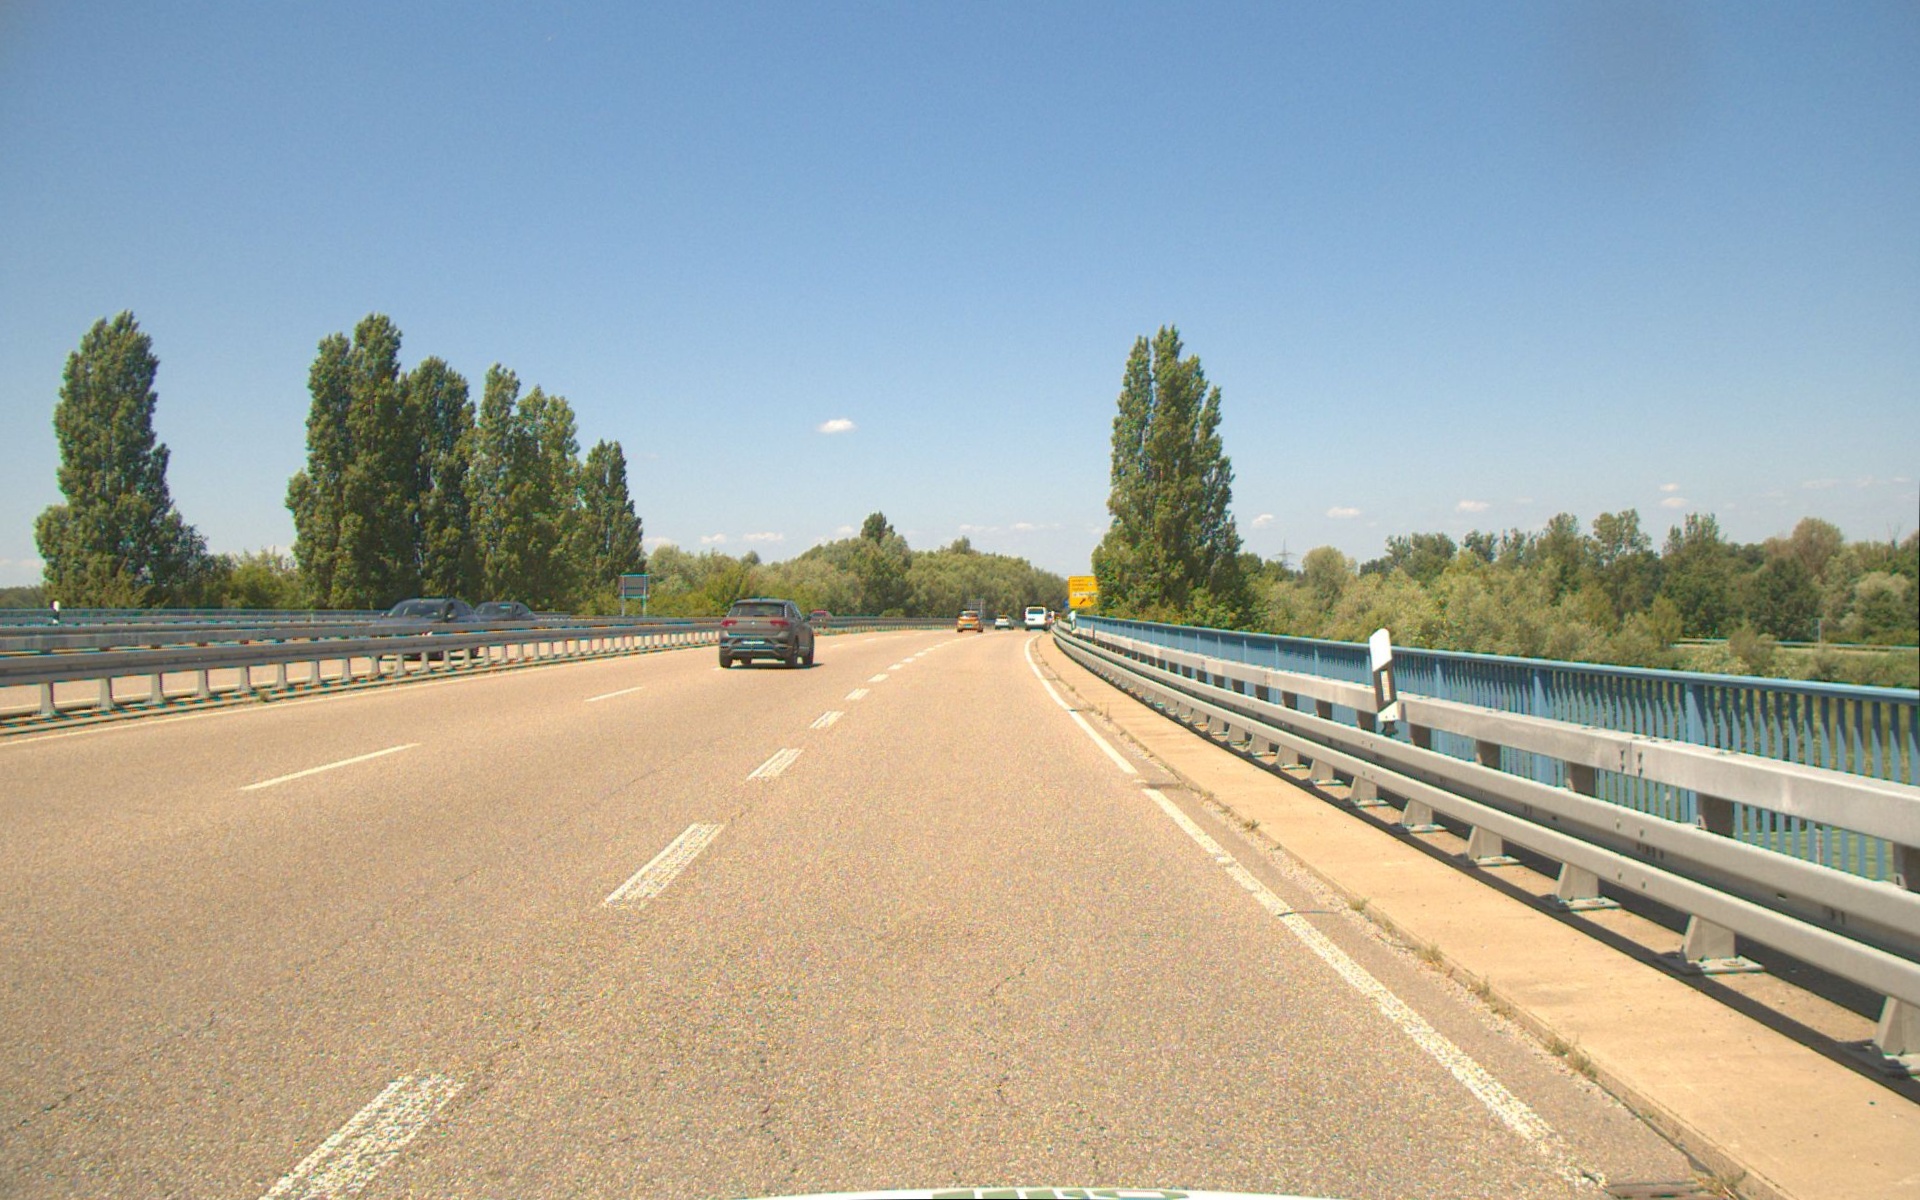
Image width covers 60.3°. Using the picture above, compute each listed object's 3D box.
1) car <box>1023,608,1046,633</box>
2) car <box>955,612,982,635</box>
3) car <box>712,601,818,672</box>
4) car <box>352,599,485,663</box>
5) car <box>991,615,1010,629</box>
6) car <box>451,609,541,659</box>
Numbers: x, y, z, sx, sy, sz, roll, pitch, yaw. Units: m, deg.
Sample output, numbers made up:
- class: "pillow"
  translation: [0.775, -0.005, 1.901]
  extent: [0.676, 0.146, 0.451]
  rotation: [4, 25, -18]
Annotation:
- class: "car"
  translation: [6.209, 1.693, 137.821]
  extent: [1.802, 1.928, 4.002]
  rotation: [1, 0, 3]
- class: "car"
  translation: [0.623, 1.645, 117.218]
  extent: [1.803, 1.489, 4.001]
  rotation: [1, 0, 1]
- class: "car"
  translation: [-4.514, 0.814, 38.966]
  extent: [1.803, 1.556, 4.471]
  rotation: [1, 0, 2]
- class: "car"
  translation: [-13.701, 0.737, 42.138]
  extent: [1.866, 1.531, 4.683]
  rotation: [0, 0, 0]
- class: "car"
  translation: [4.404, 2.366, 179.392]
  extent: [1.802, 1.476, 4.002]
  rotation: [1, 0, 5]
- class: "car"
  translation: [-16.695, 1.233, 59.775]
  extent: [1.805, 1.697, 5.050]
  rotation: [-1, -1, 0]
